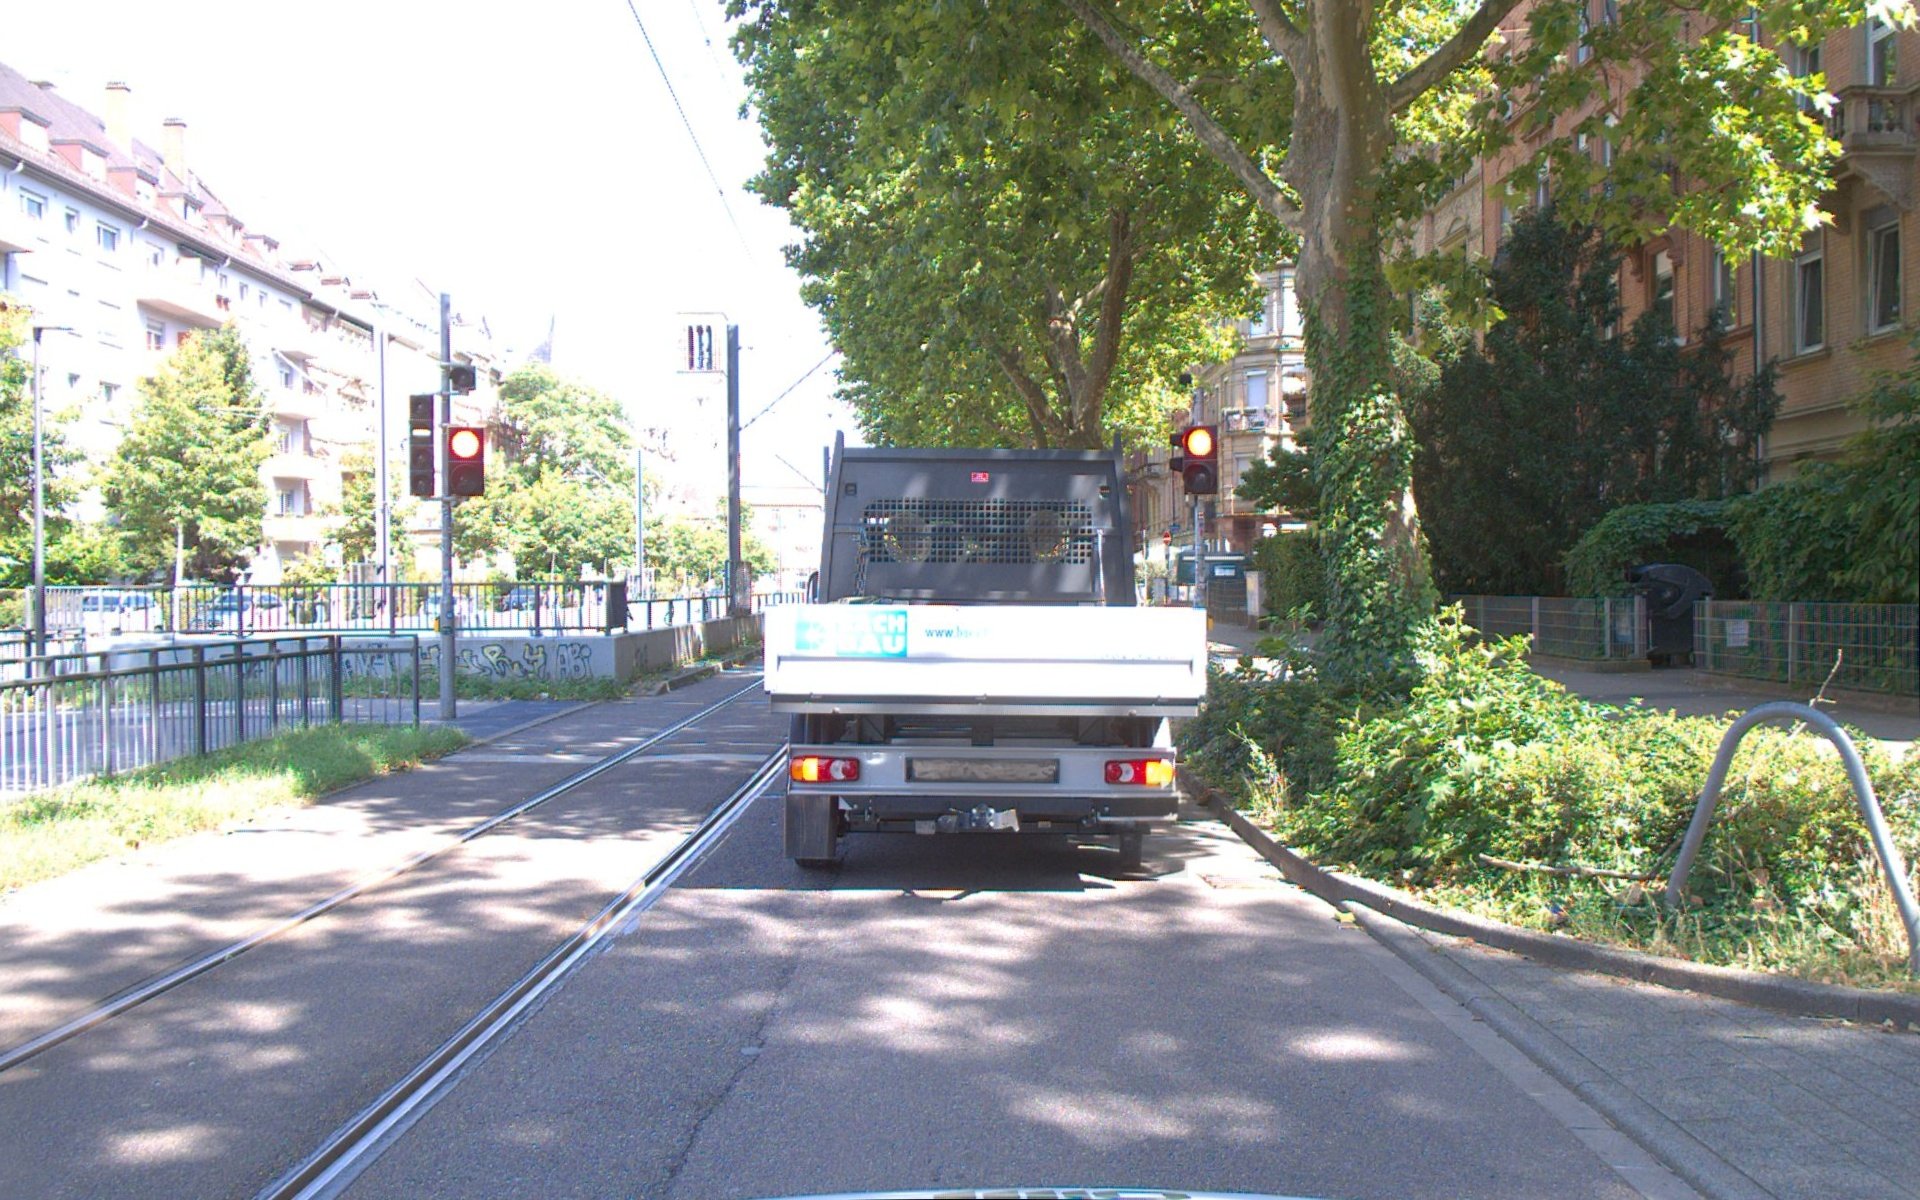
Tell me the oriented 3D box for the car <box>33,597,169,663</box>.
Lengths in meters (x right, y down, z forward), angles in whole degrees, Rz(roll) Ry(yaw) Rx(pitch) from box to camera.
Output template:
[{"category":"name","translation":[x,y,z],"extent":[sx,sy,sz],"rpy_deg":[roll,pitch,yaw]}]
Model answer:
[{"category":"car","translation":[-22.003,0.734,42.530],"extent":[1.737,1.524,3.994],"rpy_deg":[-2,1,-7]}]

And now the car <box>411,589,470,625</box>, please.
[{"category":"car","translation":[-22.795,0.297,72.705],"extent":[1.737,1.524,3.994],"rpy_deg":[-1,0,-7]}]

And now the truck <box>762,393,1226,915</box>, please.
[{"category":"truck","translation":[0.157,0.222,9.674],"extent":[2.094,2.359,4.401],"rpy_deg":[0,0,0]}]

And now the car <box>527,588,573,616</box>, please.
[{"category":"car","translation":[-23.279,0.117,93.930],"extent":[1.735,1.524,3.998],"rpy_deg":[-1,0,-2]}]

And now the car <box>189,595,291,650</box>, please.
[{"category":"car","translation":[-22.193,0.663,51.107],"extent":[1.737,1.524,3.994],"rpy_deg":[-2,1,-7]}]

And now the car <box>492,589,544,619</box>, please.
[{"category":"car","translation":[-22.990,0.183,86.098],"extent":[1.735,1.524,3.998],"rpy_deg":[-1,0,-2]}]
